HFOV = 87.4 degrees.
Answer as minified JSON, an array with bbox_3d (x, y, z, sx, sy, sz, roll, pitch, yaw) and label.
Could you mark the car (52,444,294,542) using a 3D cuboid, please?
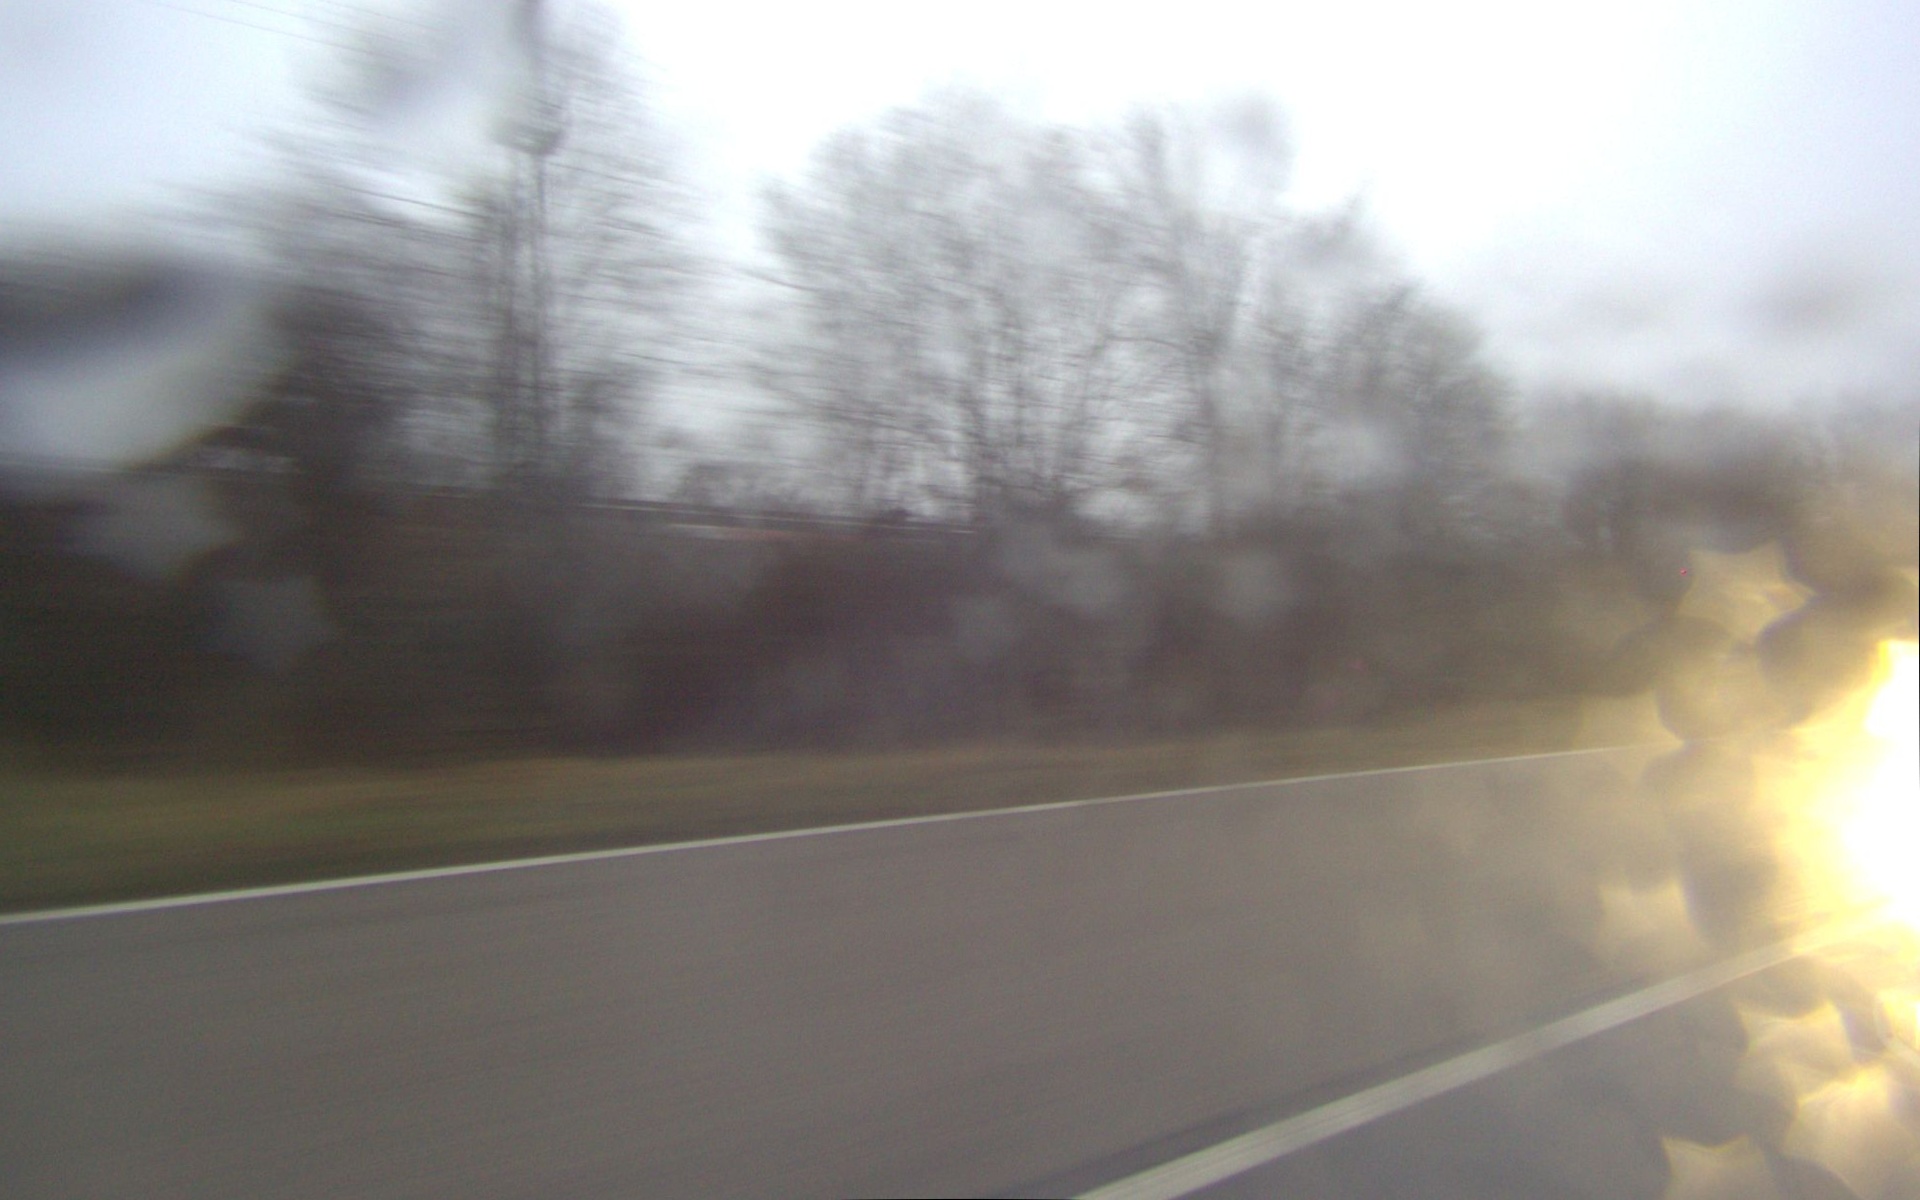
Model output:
[{"bbox_3d":[-16.679,-2.209,21.558,3.902,1.656,1.774,2,1,-34],"label":"car"}]
